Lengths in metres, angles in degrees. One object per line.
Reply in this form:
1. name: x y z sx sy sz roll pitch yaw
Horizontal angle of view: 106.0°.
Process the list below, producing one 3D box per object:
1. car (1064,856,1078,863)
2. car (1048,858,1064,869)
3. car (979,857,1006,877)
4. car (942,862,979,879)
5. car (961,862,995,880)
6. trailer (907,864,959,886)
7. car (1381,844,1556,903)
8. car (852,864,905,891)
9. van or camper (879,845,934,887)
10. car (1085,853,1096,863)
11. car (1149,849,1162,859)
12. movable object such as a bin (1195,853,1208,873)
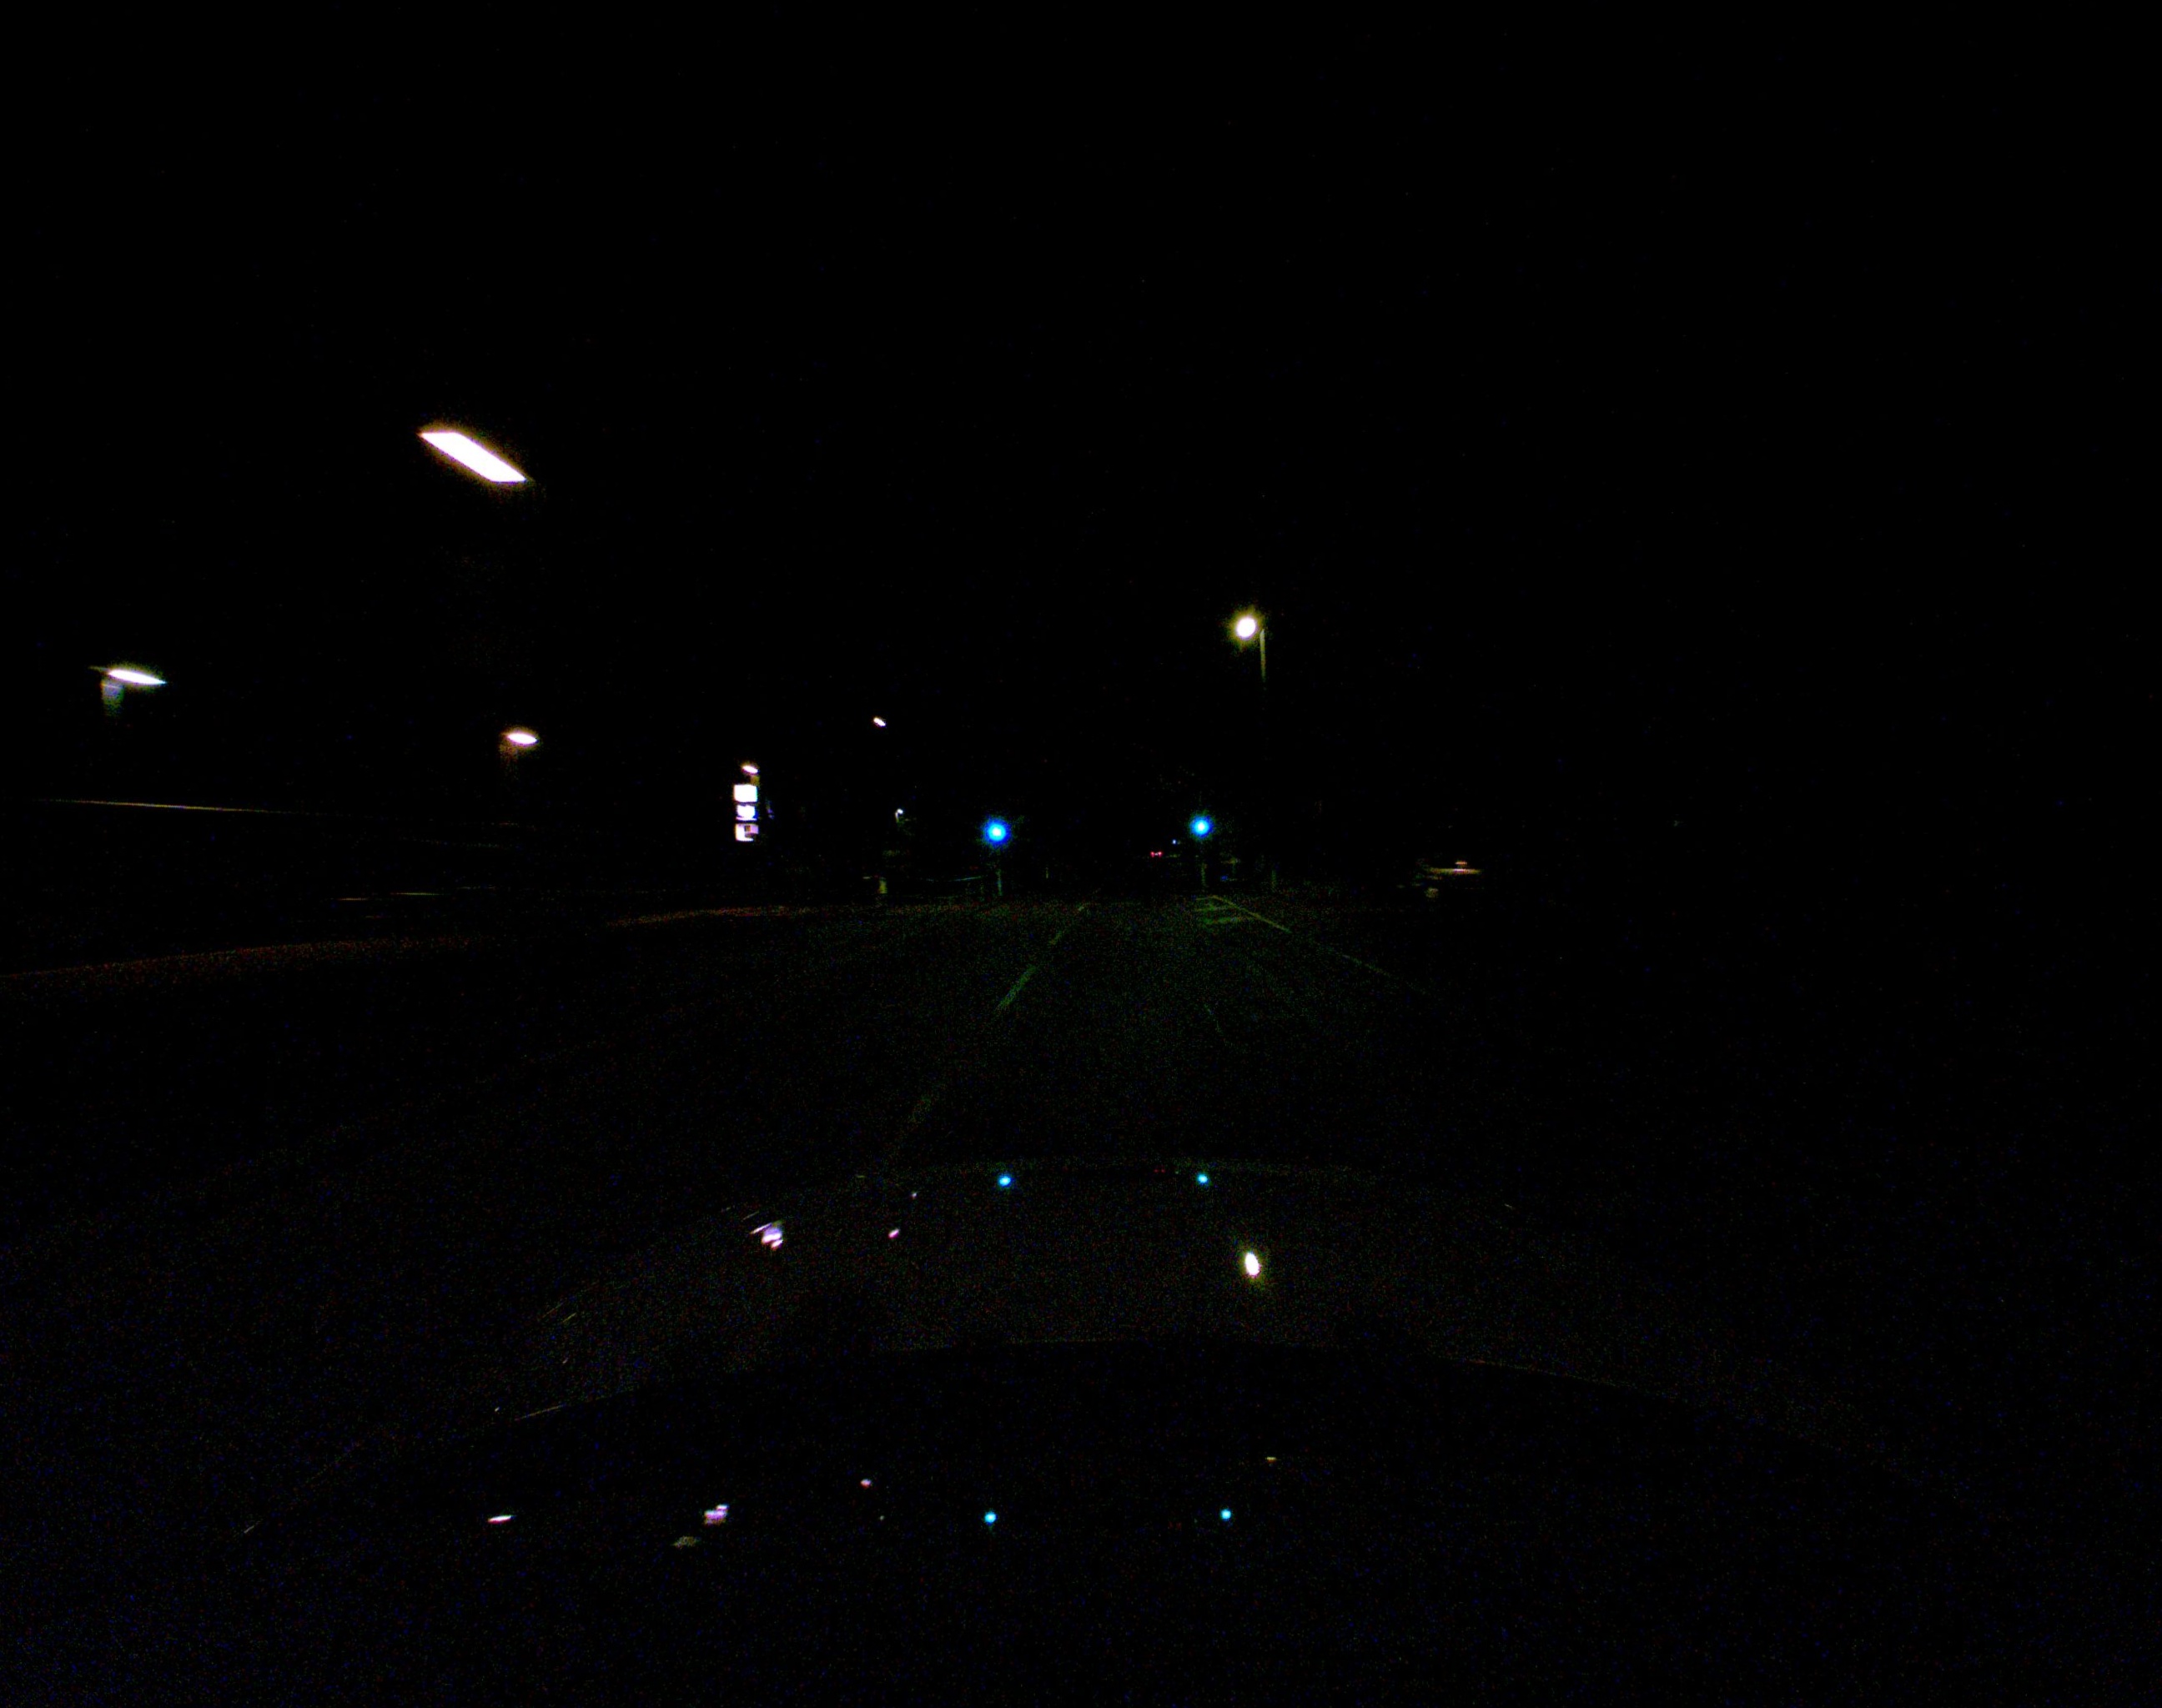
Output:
1. car: -1.907 1.009 151.856 1.984 1.338 5.440 -2 0 6
2. car: -4.091 1.472 132.403 1.984 1.628 4.684 -2 0 6
3. car: -9.107 1.314 84.267 1.849 1.904 4.884 -2 0 3
4. car: -10.733 1.474 72.761 3.018 1.326 1.534 -2 0 1
5. car: -9.832 1.587 78.216 1.891 1.522 5.184 -2 0 9
6. trailer: -11.568 1.635 64.167 2.404 1.374 4.669 -6 -1 10
7. car: 10.212 0.503 21.691 3.748 1.354 1.860 -2 0 3
8. car: -12.588 1.439 50.893 1.638 1.339 4.549 -6 -1 5
9. van or camper: -12.170 0.820 57.319 2.264 2.647 5.666 -4 0 2
10. car: 2.139 0.879 182.371 2.081 2.013 4.006 -6 0 6
11. car: 13.476 0.012 147.649 2.152 1.583 4.016 -1 0 3
12. movable object such as a bin: 7.552 0.575 50.941 0.719 1.201 0.722 -2 0 13
